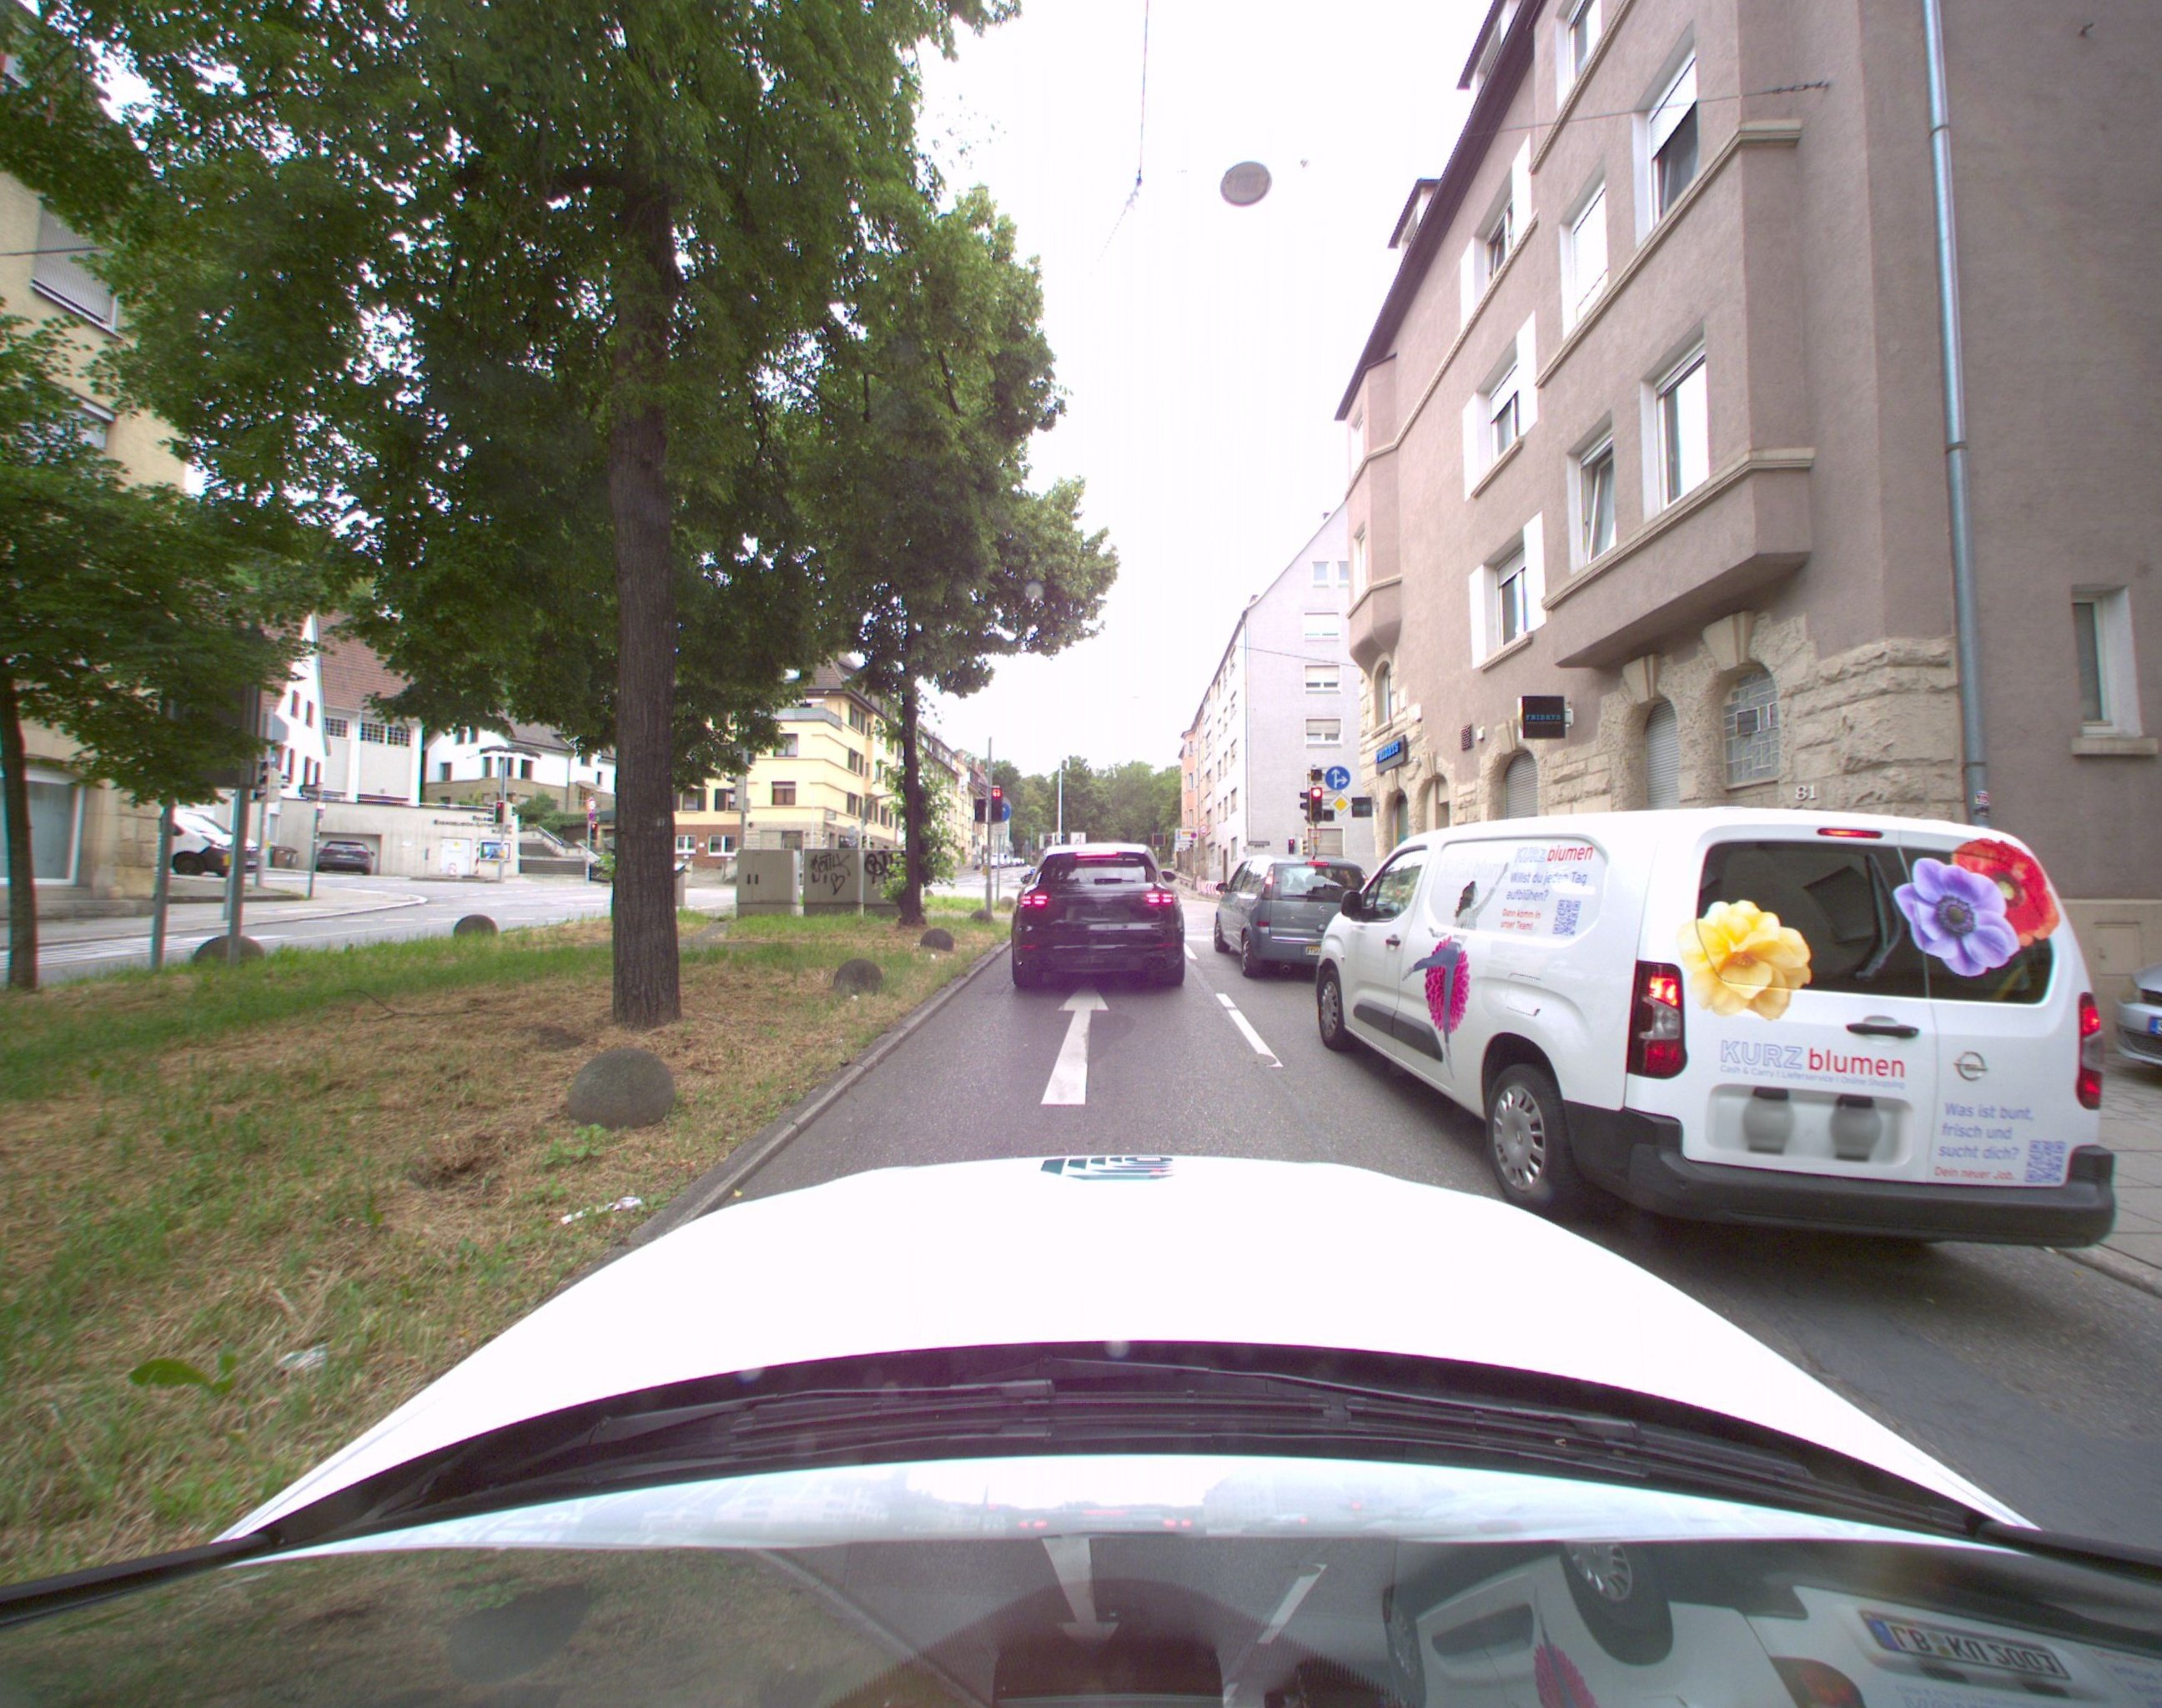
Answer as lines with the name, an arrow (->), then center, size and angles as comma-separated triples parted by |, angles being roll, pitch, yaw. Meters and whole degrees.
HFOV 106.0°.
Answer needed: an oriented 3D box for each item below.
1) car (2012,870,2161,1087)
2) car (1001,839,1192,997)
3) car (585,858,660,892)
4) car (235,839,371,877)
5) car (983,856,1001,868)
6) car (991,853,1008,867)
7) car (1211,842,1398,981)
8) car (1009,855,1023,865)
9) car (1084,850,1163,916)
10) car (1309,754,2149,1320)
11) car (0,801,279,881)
car -> 9.227, 0.868, 5.388 | 3.971, 1.403, 1.802 | 0, 2, 2
car -> 0.272, 0.665, 10.560 | 1.986, 1.653, 4.004 | -1, 0, 3
car -> -23.915, 1.095, 42.448 | 3.948, 1.665, 1.894 | -1, -2, 36
car -> -32.547, 0.169, 34.243 | 4.021, 1.510, 1.779 | 1, 0, -41
car -> -11.188, 0.988, 102.646 | 1.788, 1.510, 4.001 | 0, 0, 1
car -> -10.800, 0.819, 107.667 | 1.788, 1.810, 4.001 | 0, 0, 1
car -> 2.992, 0.711, 11.659 | 1.745, 1.593, 3.632 | 3, 0, 2
car -> -10.236, 0.968, 129.051 | 1.788, 1.510, 4.001 | 0, 0, 1
car -> 1.194, 0.755, 22.591 | 1.986, 1.653, 4.003 | -1, -1, 3
car -> 2.839, 0.649, 5.248 | 1.840, 1.825, 5.029 | 1, -2, 6
car -> -27.195, -0.334, 23.601 | 5.186, 2.064, 1.982 | 2, -1, -21
